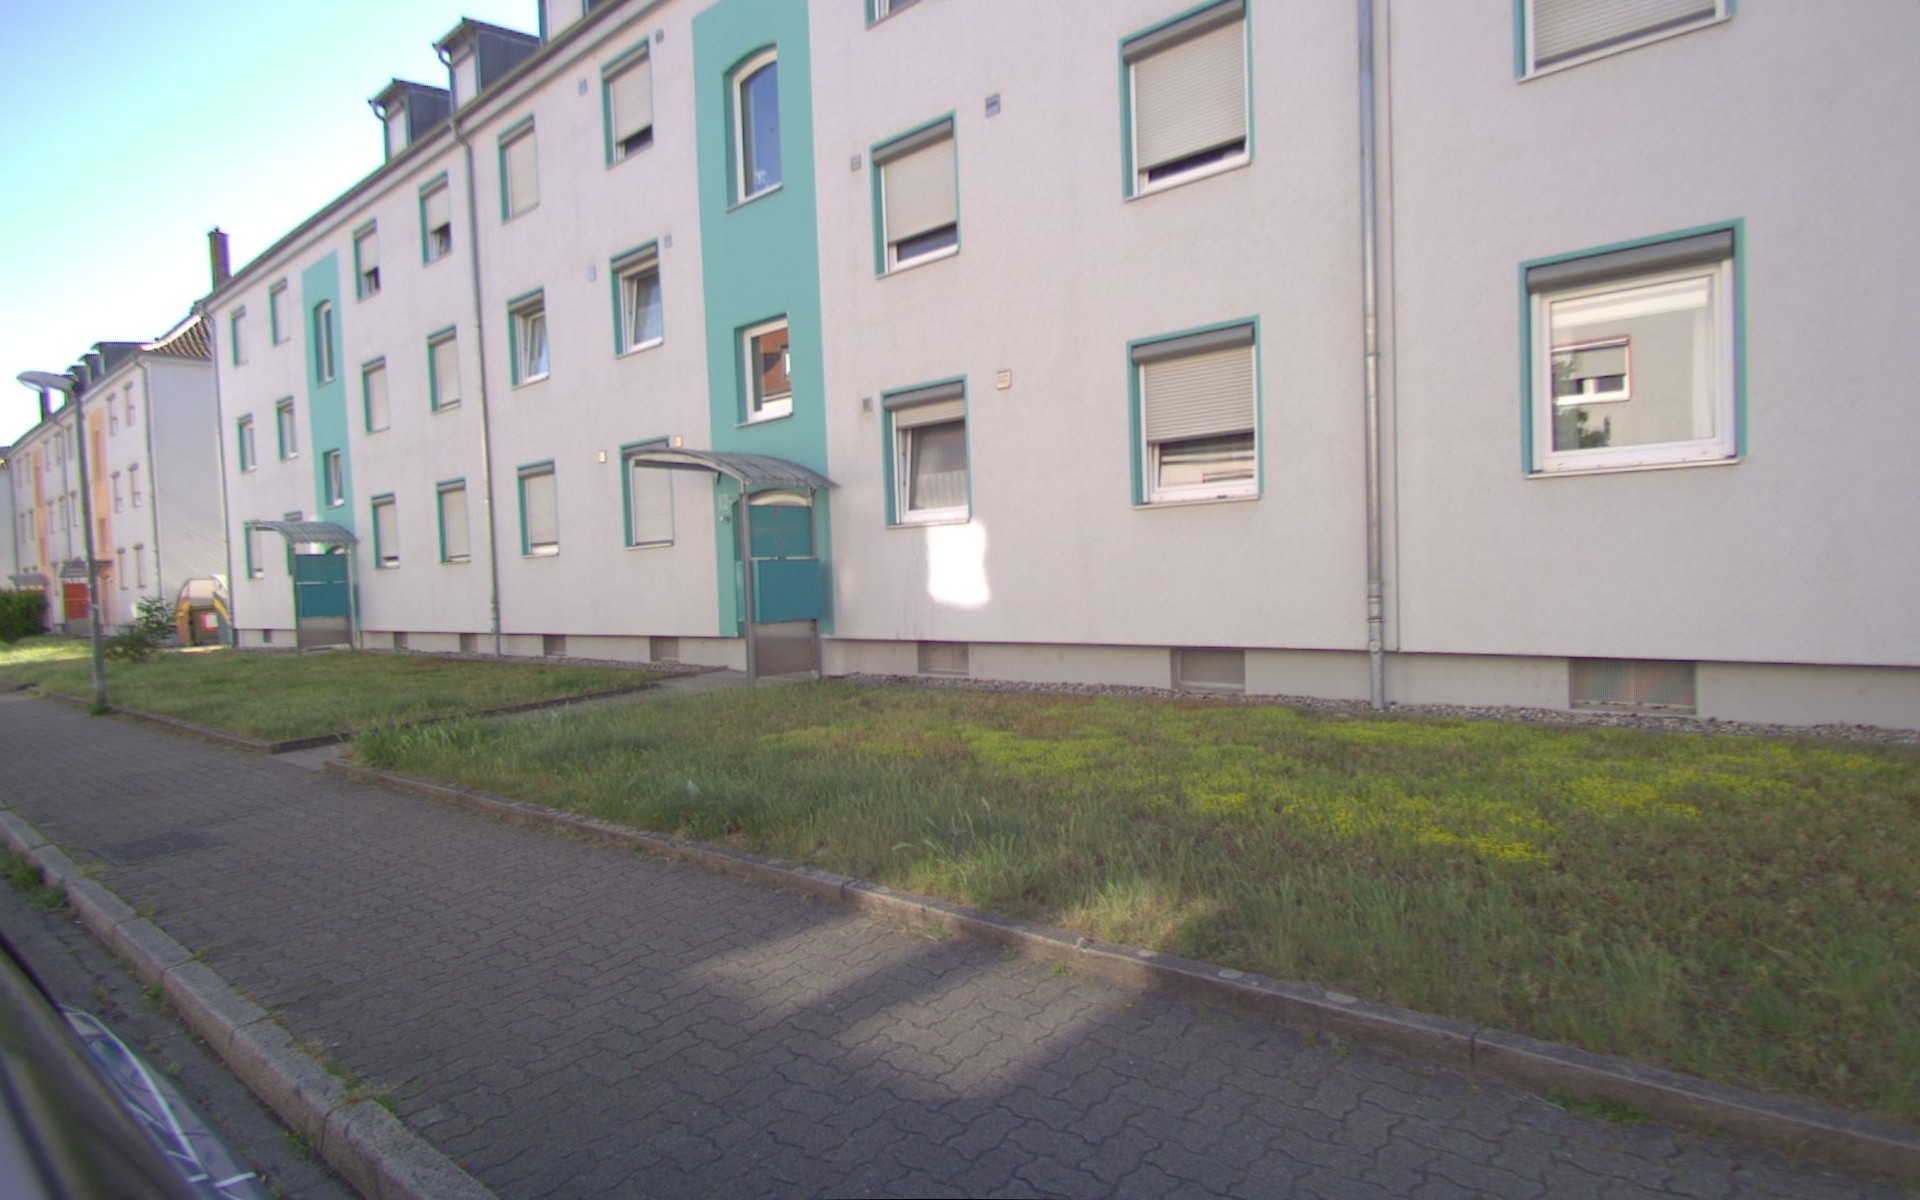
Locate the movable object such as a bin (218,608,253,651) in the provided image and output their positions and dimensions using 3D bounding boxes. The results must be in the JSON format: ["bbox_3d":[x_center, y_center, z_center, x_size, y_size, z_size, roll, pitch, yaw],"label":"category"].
[{"bbox_3d":[-24.502,0.981,34.238,0.762,1.403,0.744,-2,1,40],"label":"movable object such as a bin"}]

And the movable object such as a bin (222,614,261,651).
[{"bbox_3d":[-21.442,0.966,30.200,0.762,1.020,0.744,-2,1,40],"label":"movable object such as a bin"}]

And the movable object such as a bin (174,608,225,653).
[{"bbox_3d":[-25.146,1.002,33.470,0.877,1.403,1.152,-2,1,40],"label":"movable object such as a bin"}]
